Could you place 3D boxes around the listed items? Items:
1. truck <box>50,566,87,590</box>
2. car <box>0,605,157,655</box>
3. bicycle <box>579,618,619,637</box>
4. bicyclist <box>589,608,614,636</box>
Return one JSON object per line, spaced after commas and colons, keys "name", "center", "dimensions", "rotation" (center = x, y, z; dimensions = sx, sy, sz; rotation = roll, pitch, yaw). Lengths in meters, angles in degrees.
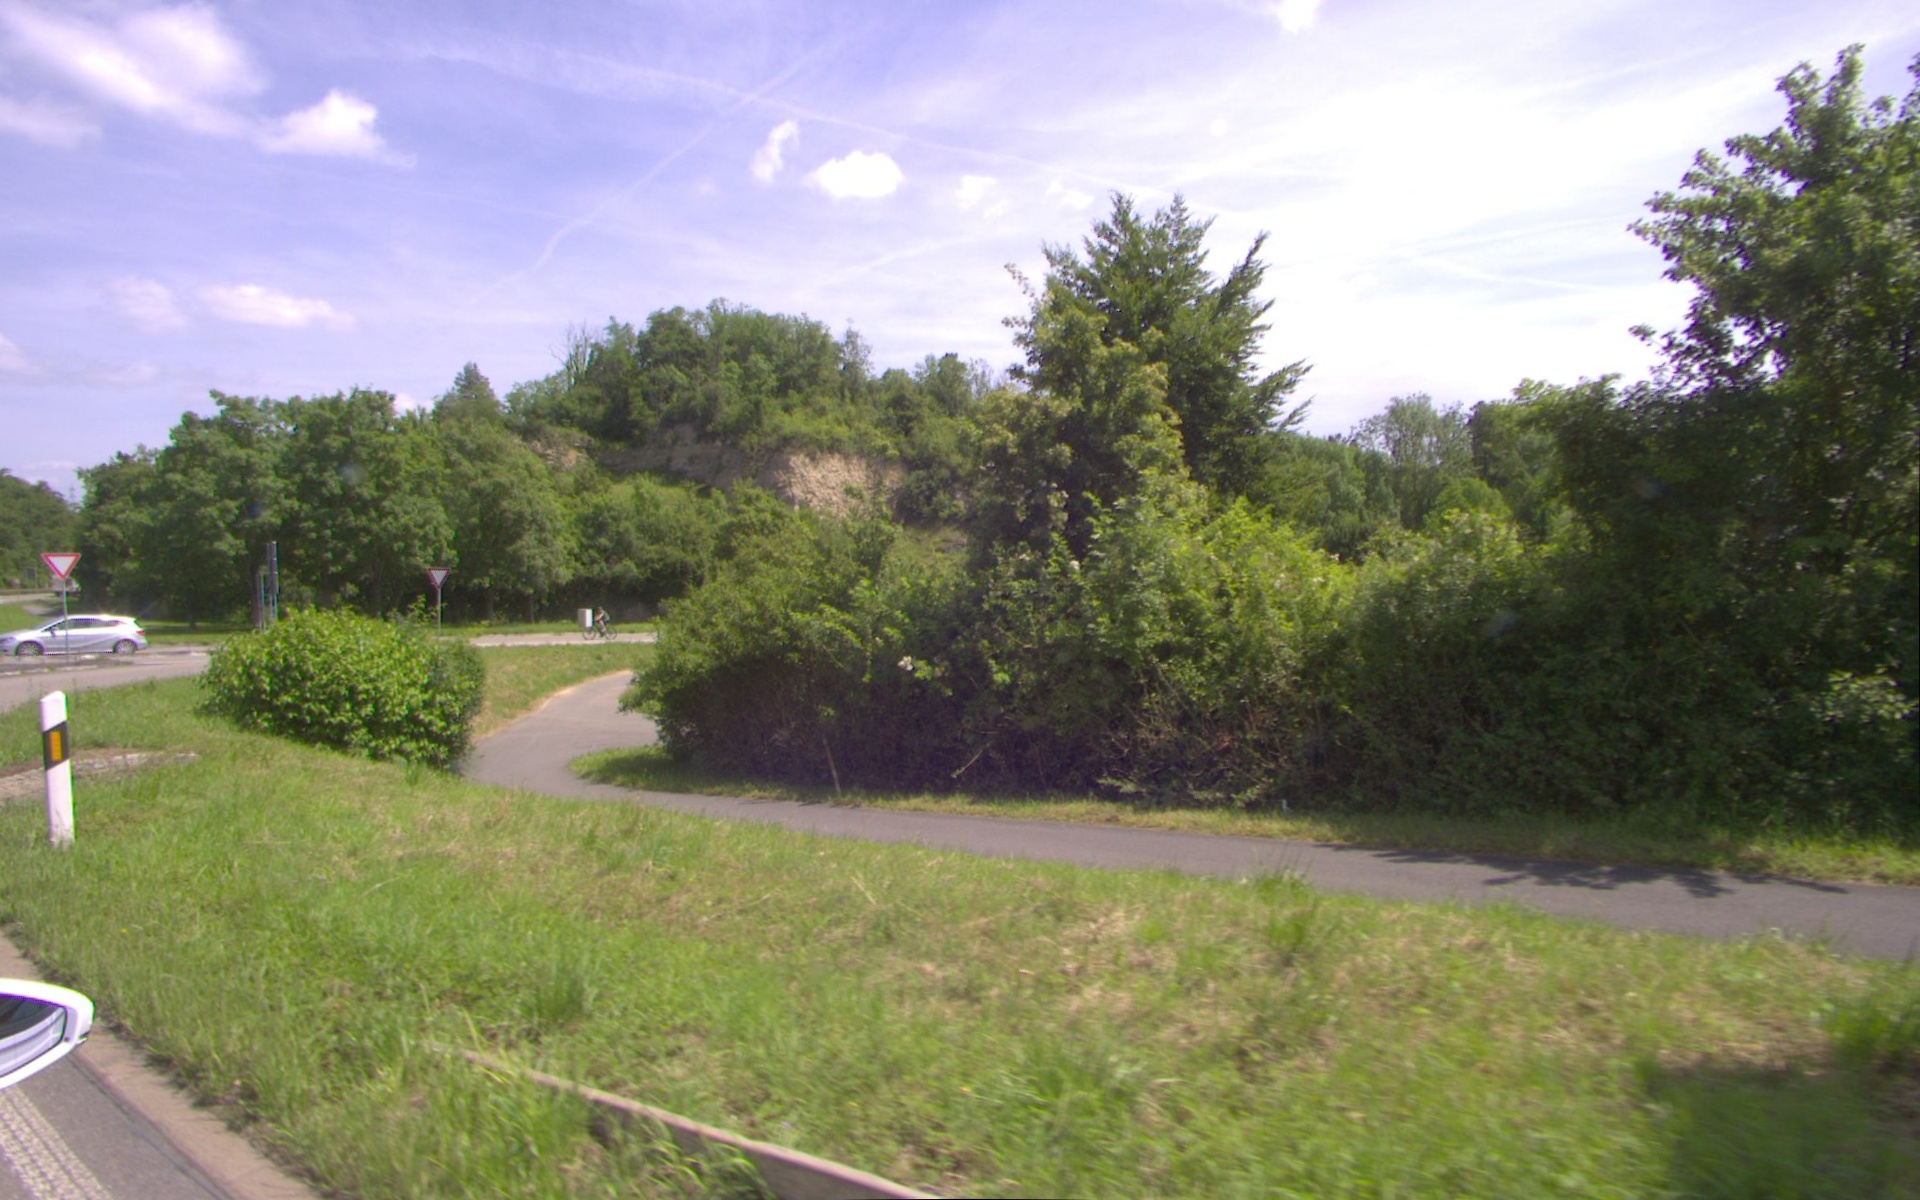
{"name": "truck", "center": [-120.346, -2.902, 135.292], "dimensions": [2.828, 2.986, 7.057], "rotation": [1, -1, -35]}
{"name": "car", "center": [-32.984, 1.141, 37.330], "dimensions": [1.976, 1.740, 4.412], "rotation": [-3, -3, 38]}
{"name": "bicycle", "center": [-19.314, 1.477, 53.574], "dimensions": [0.786, 1.008, 1.986], "rotation": [-2, -3, 30]}
{"name": "bicyclist", "center": [-19.218, 1.209, 53.674], "dimensions": [0.784, 1.466, 1.004], "rotation": [-2, -2, 31]}
